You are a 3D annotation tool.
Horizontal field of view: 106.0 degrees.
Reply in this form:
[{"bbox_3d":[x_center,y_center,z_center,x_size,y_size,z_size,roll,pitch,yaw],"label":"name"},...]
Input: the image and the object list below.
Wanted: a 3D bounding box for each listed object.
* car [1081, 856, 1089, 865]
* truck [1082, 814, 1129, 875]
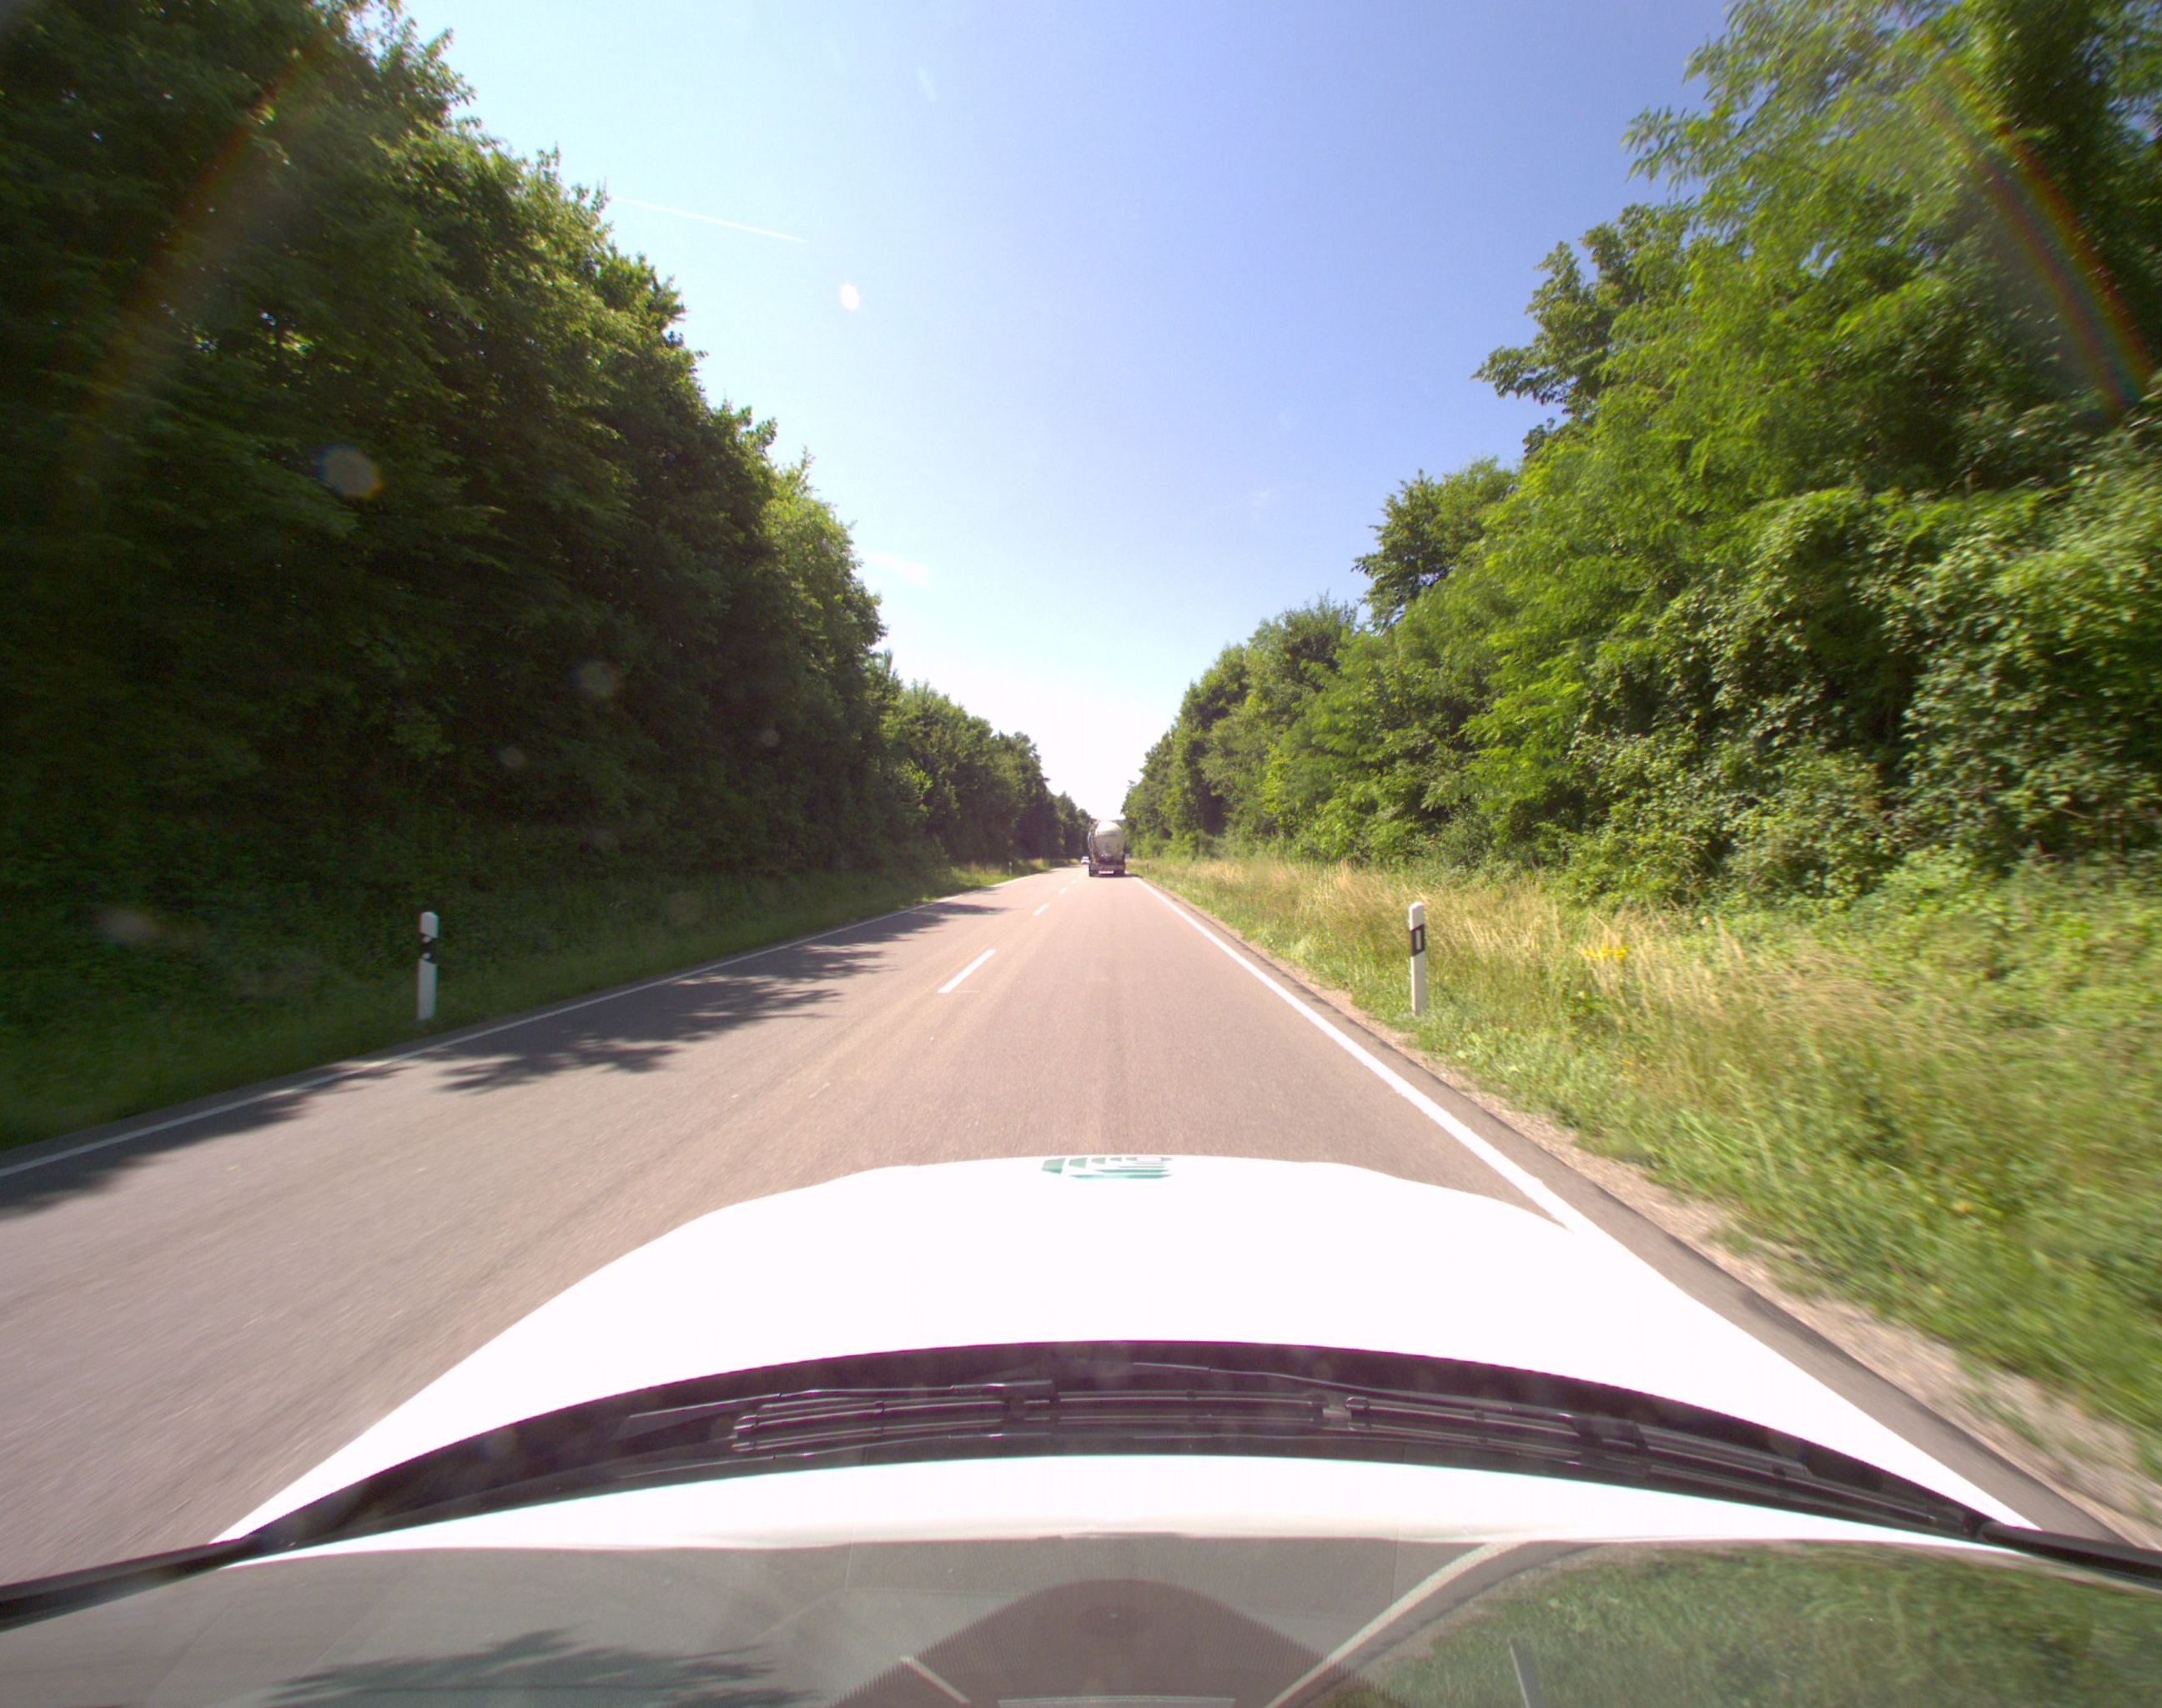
[{"bbox_3d":[0.774,1.299,163.545,1.507,1.592,3.795,-1,0,2],"label":"car"},{"bbox_3d":[1.701,-0.529,61.982,3.039,3.998,15.635,2,-1,1],"label":"truck"}]
